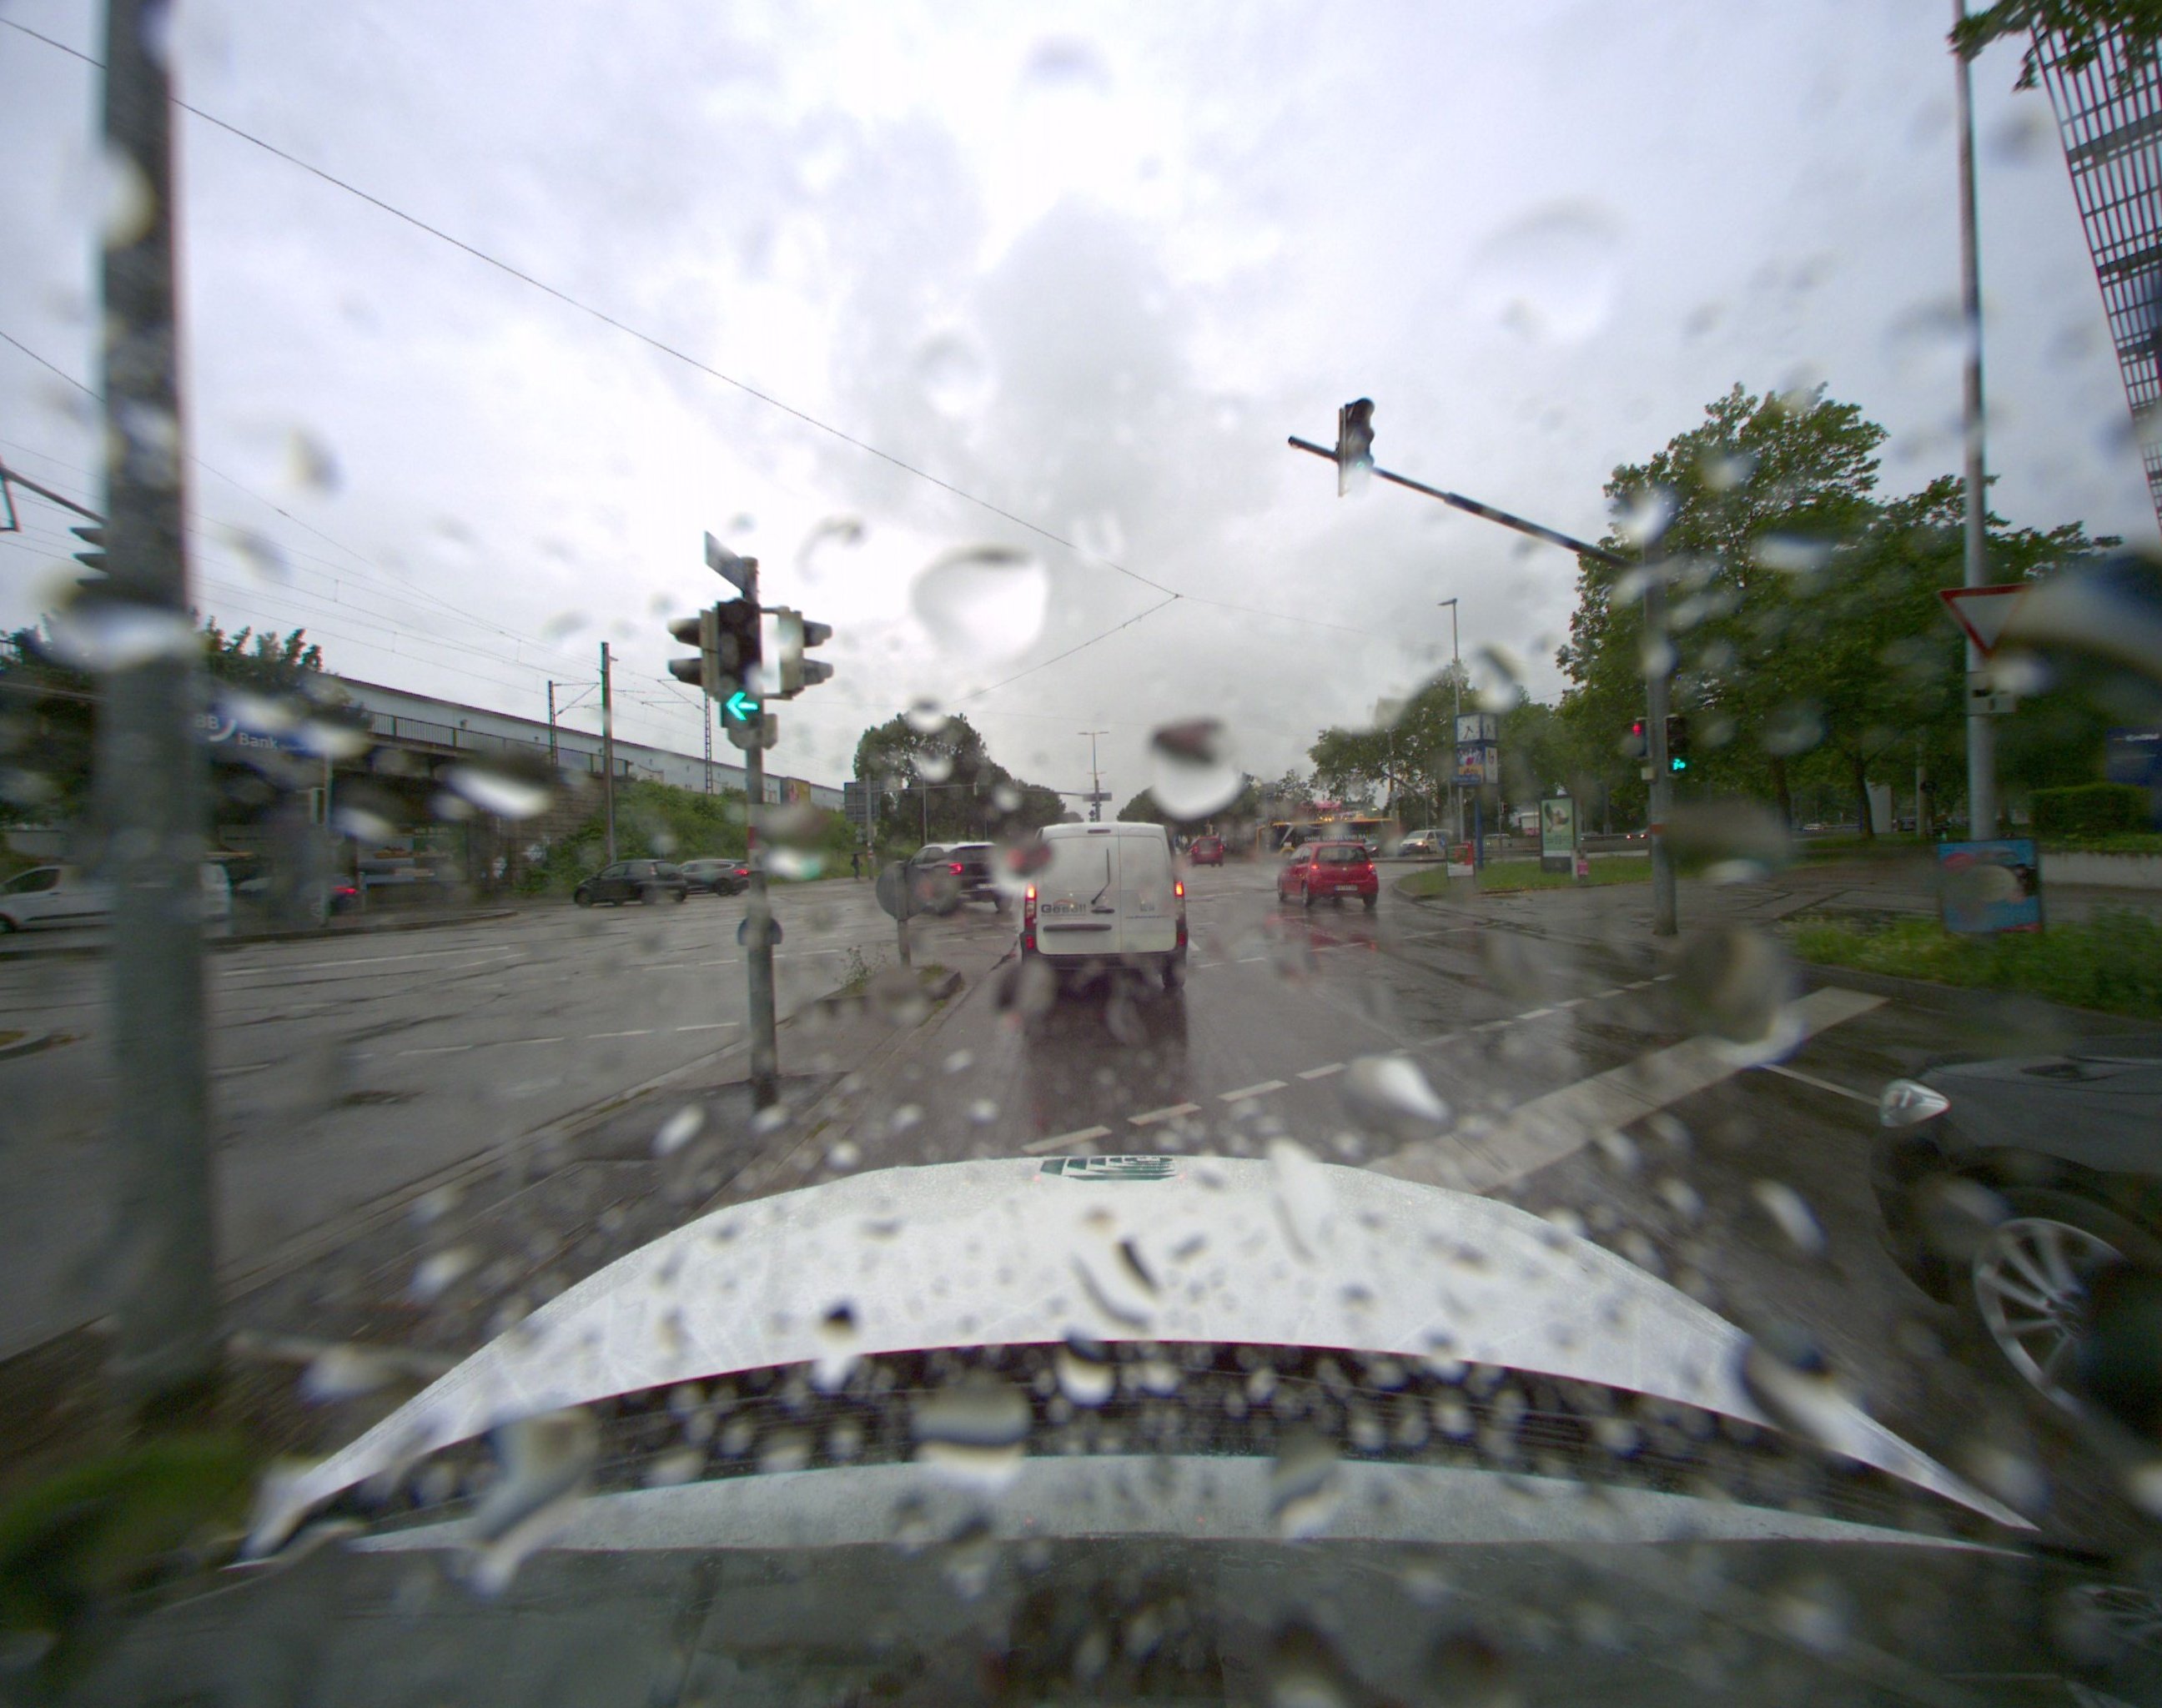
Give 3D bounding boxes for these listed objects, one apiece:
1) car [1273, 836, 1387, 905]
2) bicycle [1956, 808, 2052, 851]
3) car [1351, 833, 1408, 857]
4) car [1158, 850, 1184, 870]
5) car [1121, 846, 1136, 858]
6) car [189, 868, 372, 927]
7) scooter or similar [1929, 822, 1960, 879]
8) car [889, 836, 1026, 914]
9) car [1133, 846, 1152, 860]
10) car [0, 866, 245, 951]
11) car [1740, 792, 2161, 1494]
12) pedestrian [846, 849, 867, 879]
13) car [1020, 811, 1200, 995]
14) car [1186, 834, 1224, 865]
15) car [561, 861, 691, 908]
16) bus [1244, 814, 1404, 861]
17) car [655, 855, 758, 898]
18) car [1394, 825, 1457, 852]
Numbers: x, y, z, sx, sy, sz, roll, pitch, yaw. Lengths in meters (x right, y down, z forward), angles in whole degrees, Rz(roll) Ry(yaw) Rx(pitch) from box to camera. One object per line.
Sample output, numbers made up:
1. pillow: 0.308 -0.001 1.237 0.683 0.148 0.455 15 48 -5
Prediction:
1. car: 5.855 0.340 19.557 1.673 1.491 3.622 -1 1 1
2. bicycle: 32.481 -0.844 28.723 0.799 1.442 2.681 0 0 12
3. car: 22.476 -0.701 61.337 4.362 1.651 1.912 -3 1 -36
4. car: 7.333 0.468 66.714 1.835 1.618 4.002 0 0 2
5. car: 6.855 -0.275 117.779 1.990 1.618 4.000 -2 1 0
6. car: -26.601 1.393 27.283 3.957 1.618 1.980 -3 1 -31
7. scooter or similar: 17.972 -0.080 16.950 1.181 1.138 0.337 -3 1 -39
8. car: -3.080 0.453 19.641 1.930 1.609 3.961 -3 1 -30
9. car: 7.631 -0.105 100.932 1.990 1.618 4.000 -2 1 0
10. car: -27.404 1.485 23.009 4.836 1.955 1.980 -4 2 -31
11. car: 3.230 0.605 0.819 1.863 1.523 4.088 -2 1 1
12. pedestrian: -13.201 0.574 47.865 1.001 1.719 0.818 -2 0 -8
13. car: 0.158 0.449 9.945 1.752 1.777 3.994 0 0 -4
14. car: 6.825 -0.242 44.999 1.627 1.655 3.485 0 1 1
15. car: -14.696 0.975 26.379 3.424 1.306 1.589 -2 1 12
16. bus: 20.013 -1.359 67.536 12.209 3.268 3.275 -2 0 0
17. car: -14.772 0.861 32.274 3.346 1.473 1.563 -2 1 -11
18. car: 25.450 -1.145 60.123 4.767 1.848 2.055 -3 1 -36
